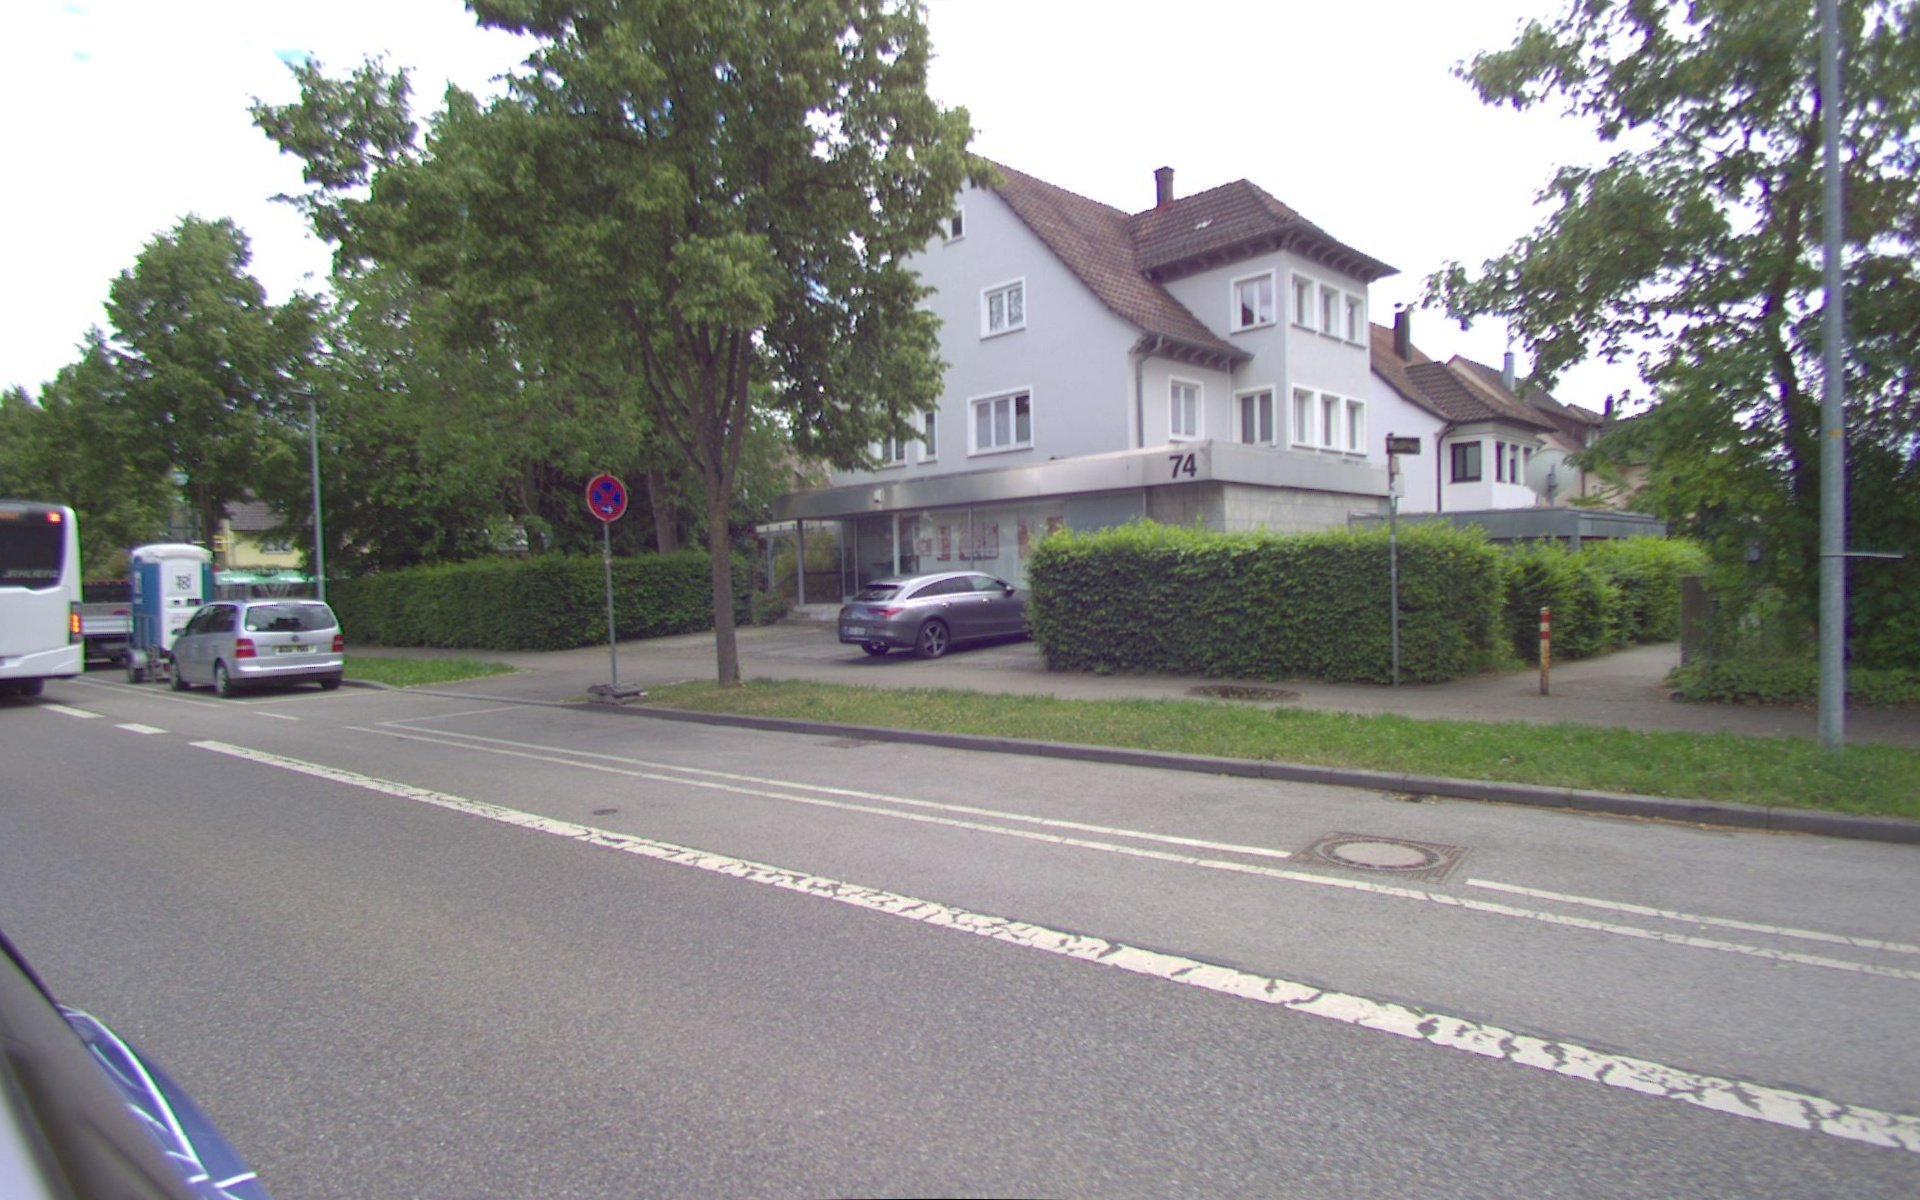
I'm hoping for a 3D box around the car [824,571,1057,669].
[{"bbox_3d":[-0.258,0.295,18.262,4.033,1.443,1.802,-4,2,-44],"label":"car"}]

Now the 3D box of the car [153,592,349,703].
[{"bbox_3d":[-12.496,0.741,17.742,4.220,1.696,1.672,0,2,39],"label":"car"}]

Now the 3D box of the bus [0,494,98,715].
[{"bbox_3d":[-21.547,0.089,20.569,18.023,3.313,2.778,0,1,39],"label":"bus"}]

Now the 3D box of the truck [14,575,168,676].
[{"bbox_3d":[-22.668,0.600,26.273,6.462,2.304,2.270,-1,0,43],"label":"truck"}]

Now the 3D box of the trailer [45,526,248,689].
[{"bbox_3d":[-17.668,0.155,21.784,7.009,2.985,2.347,-1,0,43],"label":"trailer"}]
